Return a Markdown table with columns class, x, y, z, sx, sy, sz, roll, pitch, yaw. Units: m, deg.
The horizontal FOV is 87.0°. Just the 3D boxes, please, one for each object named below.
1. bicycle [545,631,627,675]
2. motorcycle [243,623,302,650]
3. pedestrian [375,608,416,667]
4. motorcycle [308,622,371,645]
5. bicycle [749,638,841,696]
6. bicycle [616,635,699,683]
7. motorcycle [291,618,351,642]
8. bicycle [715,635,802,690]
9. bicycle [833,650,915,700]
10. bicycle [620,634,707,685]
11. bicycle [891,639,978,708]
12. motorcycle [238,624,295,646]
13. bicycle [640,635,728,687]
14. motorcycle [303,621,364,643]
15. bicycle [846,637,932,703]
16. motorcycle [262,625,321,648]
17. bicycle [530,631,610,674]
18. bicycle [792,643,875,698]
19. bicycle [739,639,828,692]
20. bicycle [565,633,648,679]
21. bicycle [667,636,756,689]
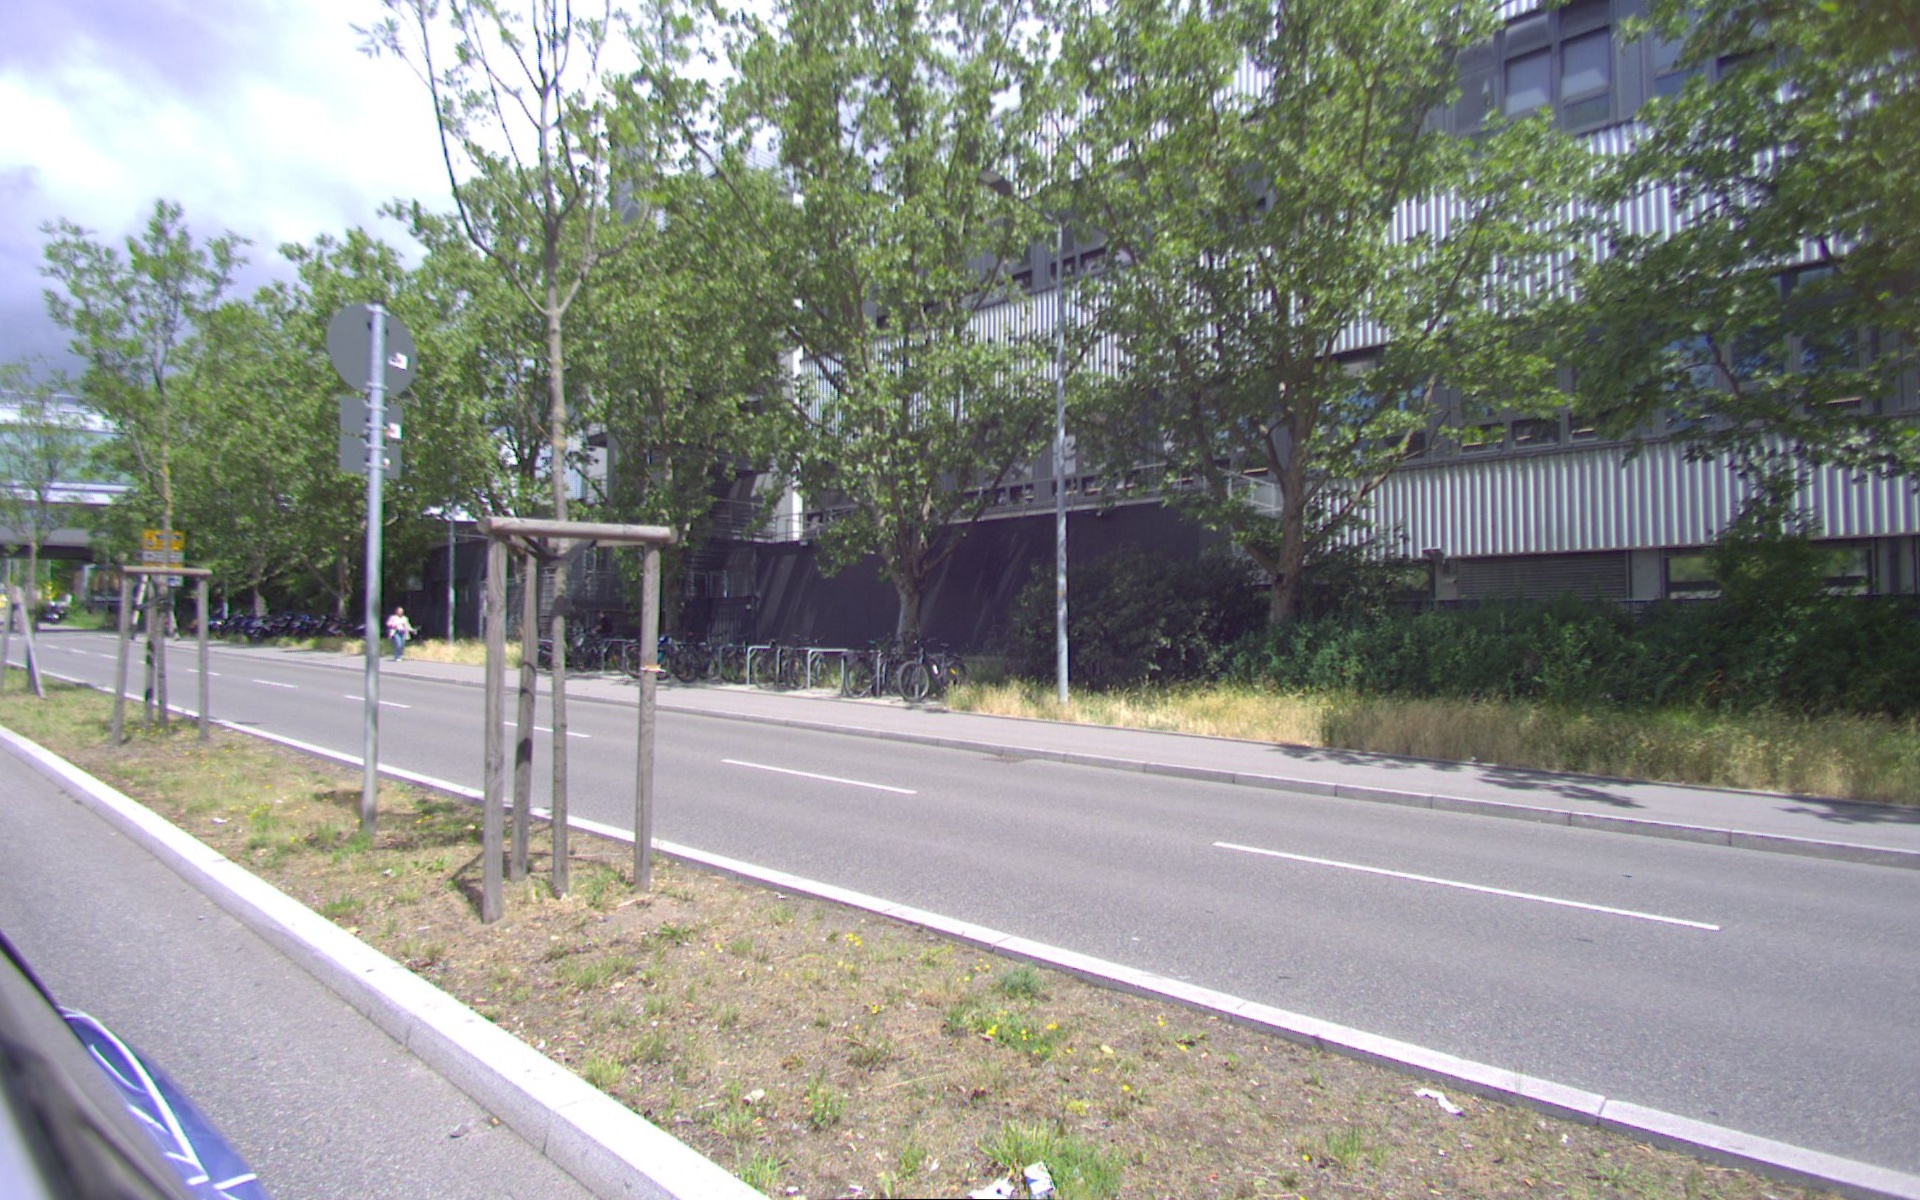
| class | x | y | z | sx | sy | sz | roll | pitch | yaw |
| --- | --- | --- | --- | --- | --- | --- | --- | --- | --- |
| bicycle | -9.987 | 1.396 | 27.086 | 0.382 | 1.119 | 2.101 | -1 | -1 | 43 |
| motorcycle | -30.437 | 1.606 | 44.820 | 0.534 | 1.146 | 2.105 | -1 | -1 | 41 |
| pedestrian | -17.157 | 1.130 | 30.741 | 0.672 | 1.733 | 0.888 | -1 | -2 | 41 |
| motorcycle | -25.062 | 1.336 | 40.895 | 0.534 | 0.905 | 2.105 | -1 | -1 | 41 |
| bicycle | -3.429 | 1.373 | 21.218 | 0.382 | 1.104 | 2.101 | -1 | -1 | 43 |
| bicycle | -7.564 | 1.453 | 25.409 | 0.382 | 1.119 | 2.101 | -1 | -1 | 43 |
| motorcycle | -27.337 | 1.274 | 43.332 | 0.534 | 0.976 | 2.105 | -1 | -1 | 41 |
| bicycle | -4.499 | 1.380 | 22.742 | 0.382 | 1.119 | 2.101 | -1 | -1 | 43 |
| bicycle | -1.688 | 1.474 | 20.209 | 0.381 | 0.897 | 1.968 | -1 | -1 | 39 |
| bicycle | -7.075 | 1.401 | 24.259 | 0.382 | 1.119 | 2.101 | -1 | -1 | 43 |
| bicycle | -0.432 | 1.309 | 18.383 | 0.381 | 1.137 | 1.968 | -1 | -1 | 39 |
| motorcycle | -31.409 | 1.580 | 45.862 | 0.534 | 0.976 | 2.105 | -1 | -1 | 41 |
| bicycle | -6.419 | 1.396 | 23.662 | 0.382 | 1.119 | 2.101 | -1 | -1 | 43 |
| motorcycle | -26.285 | 1.329 | 42.470 | 0.534 | 0.892 | 2.105 | -1 | -1 | 41 |
| bicycle | -1.310 | 1.296 | 19.107 | 0.381 | 1.137 | 1.968 | -1 | -1 | 39 |
| motorcycle | -29.277 | 1.578 | 44.335 | 0.534 | 0.976 | 2.105 | -1 | -1 | 41 |
| bicycle | -10.627 | 1.415 | 27.632 | 0.382 | 1.119 | 2.101 | -1 | -1 | 43 |
| bicycle | -2.559 | 1.422 | 20.696 | 0.381 | 1.005 | 1.968 | -1 | -1 | 39 |
| bicycle | -3.831 | 1.410 | 22.127 | 0.382 | 1.038 | 2.101 | -1 | -1 | 43 |
| bicycle | -9.243 | 1.443 | 26.536 | 0.382 | 1.119 | 2.101 | -1 | -1 | 43 |
| bicycle | -5.629 | 1.395 | 23.010 | 0.382 | 1.119 | 2.101 | -1 | -1 | 43 |
